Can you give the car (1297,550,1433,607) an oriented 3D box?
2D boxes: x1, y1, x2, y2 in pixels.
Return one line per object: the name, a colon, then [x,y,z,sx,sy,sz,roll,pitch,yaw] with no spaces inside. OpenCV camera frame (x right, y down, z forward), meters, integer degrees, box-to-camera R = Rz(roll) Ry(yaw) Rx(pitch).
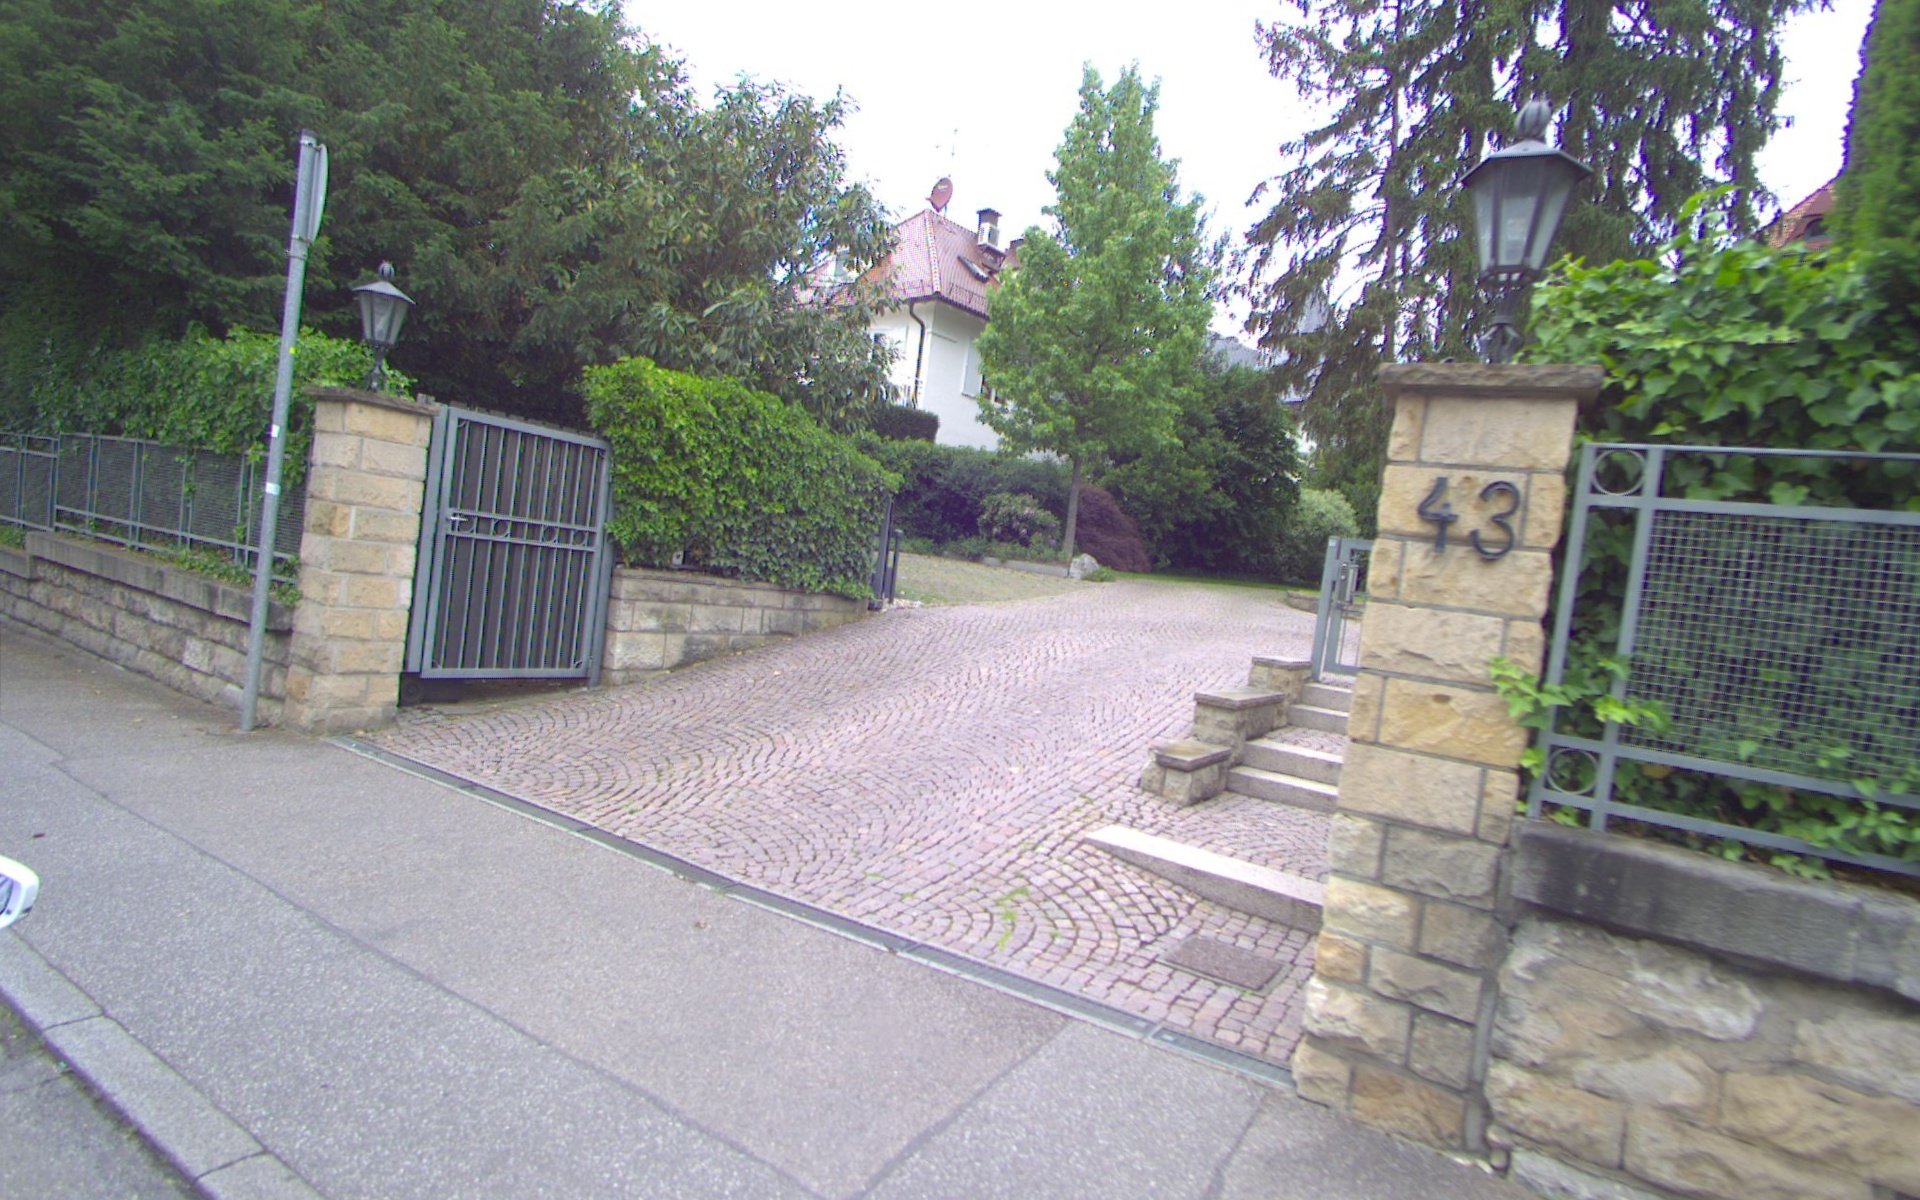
car: [11.956,-0.652,29.865,1.458,1.252,3.377,2,7,-36]
